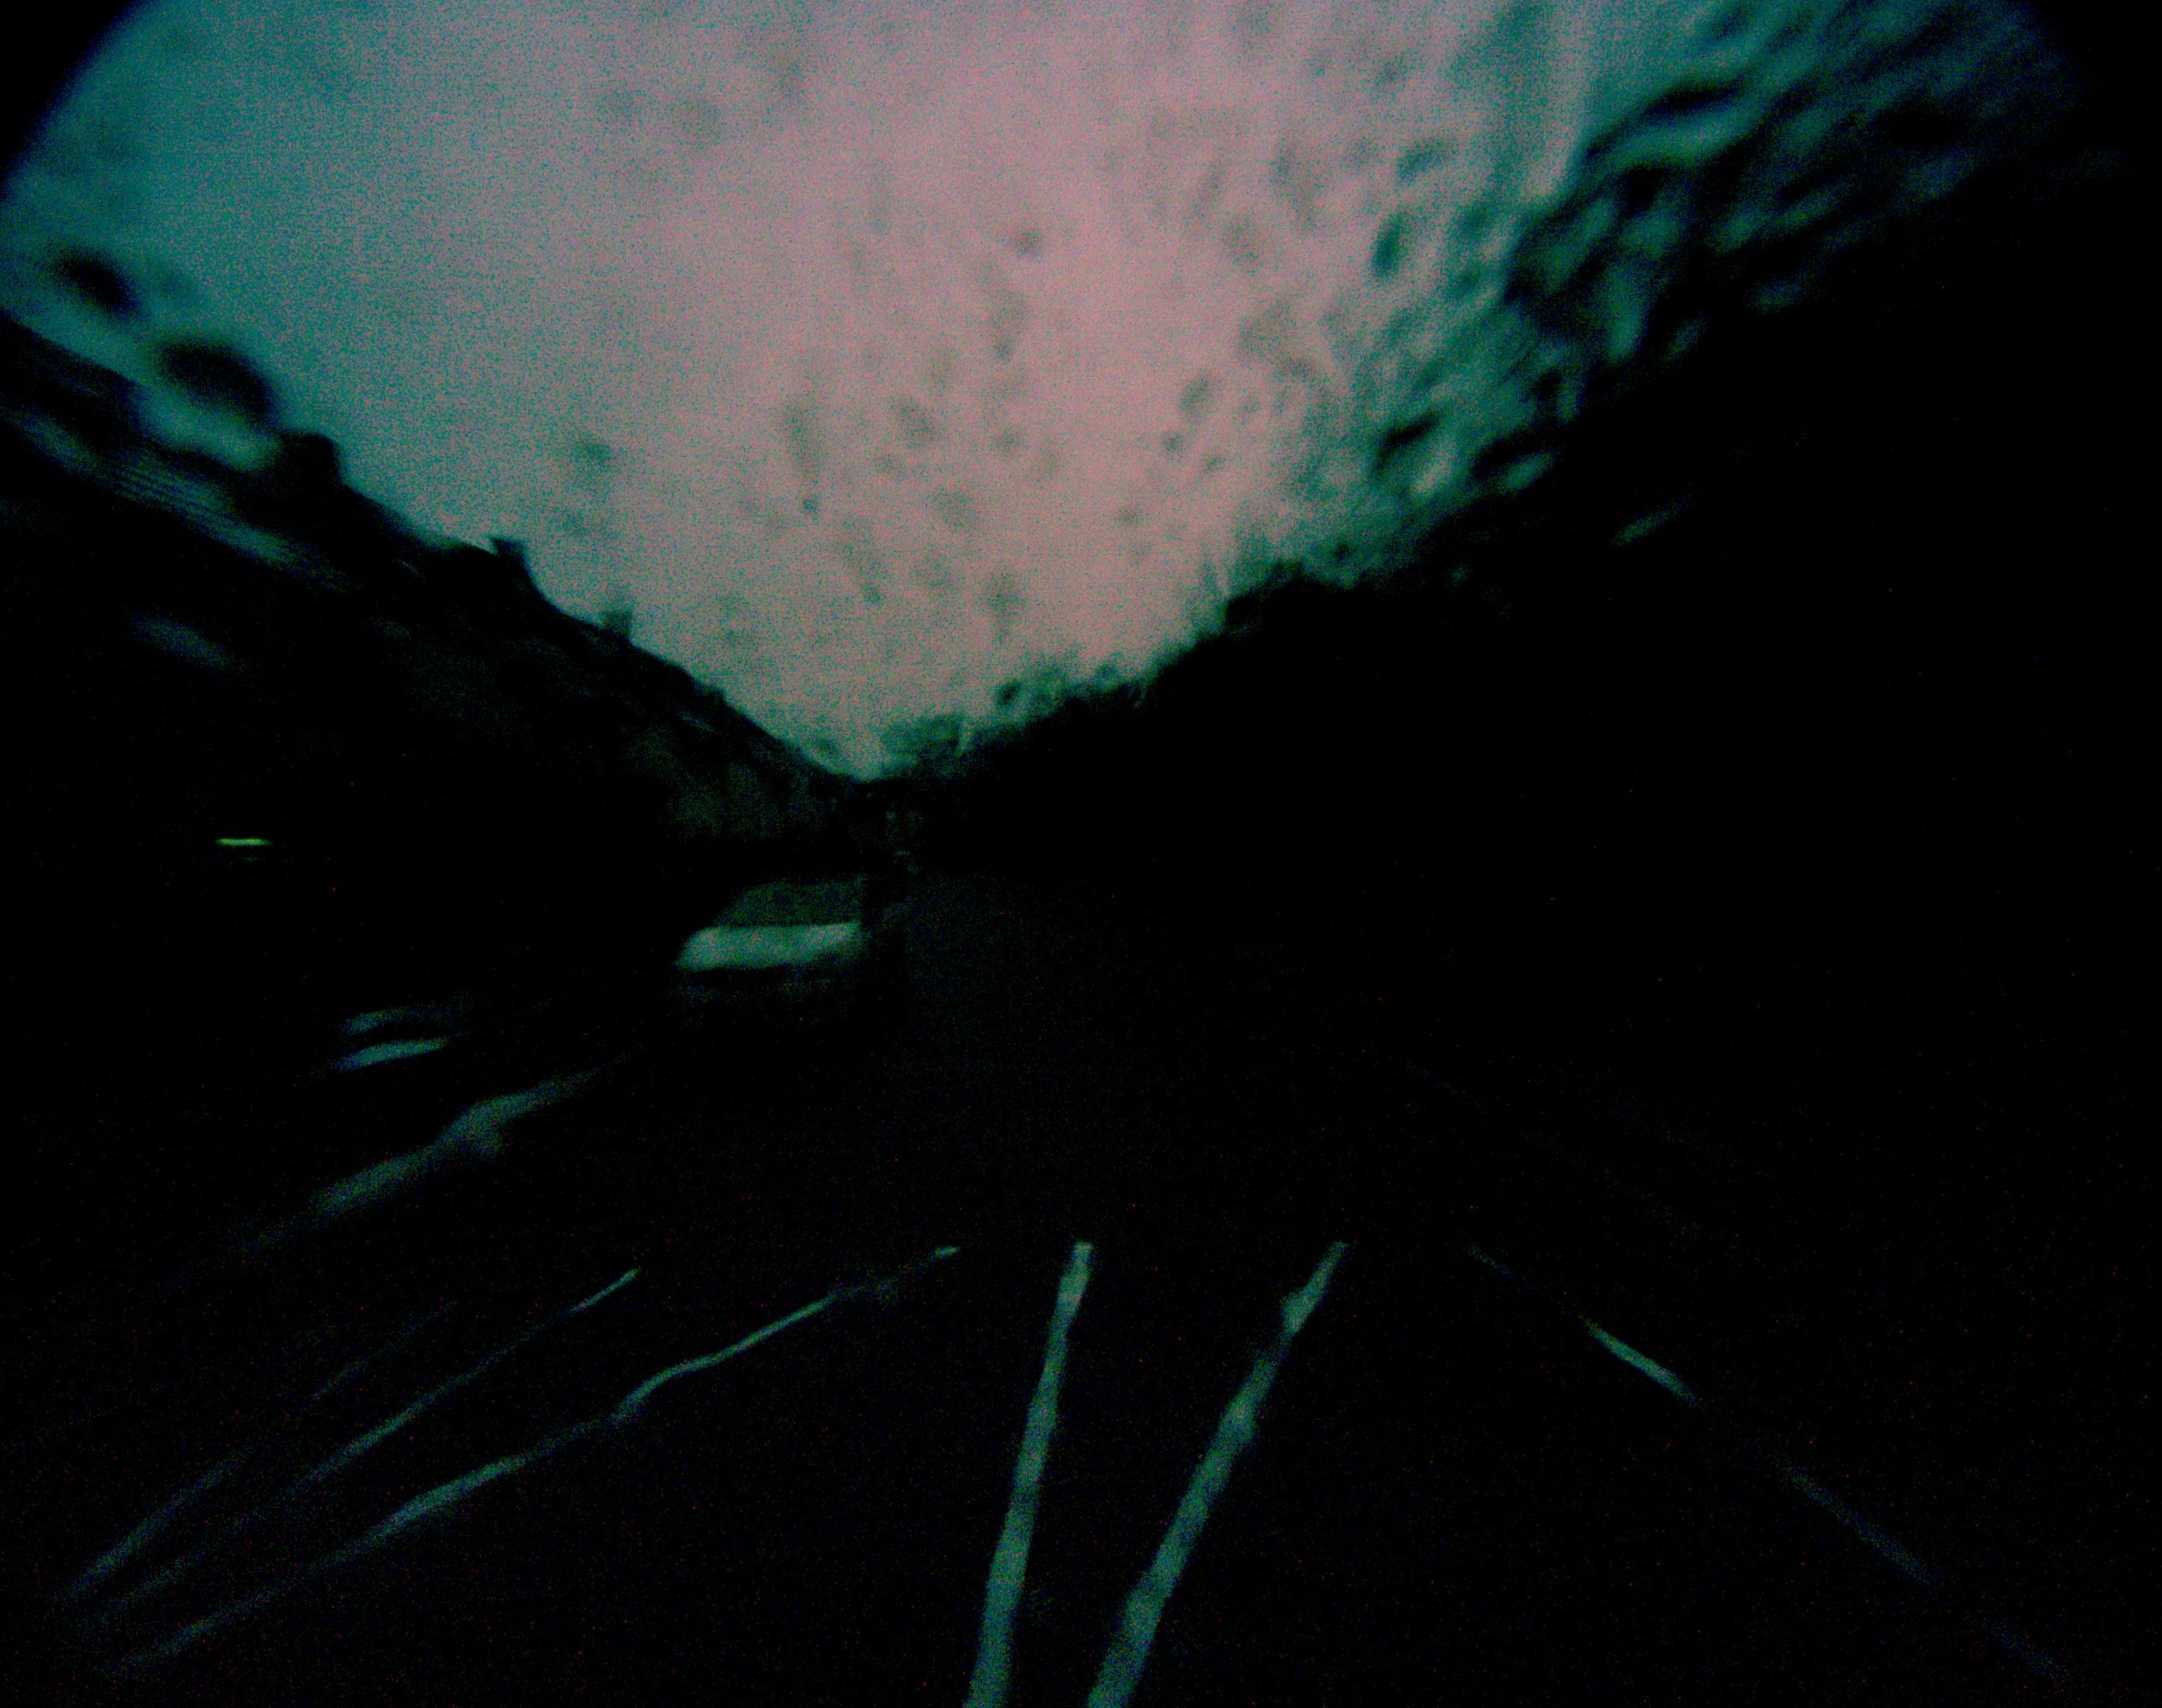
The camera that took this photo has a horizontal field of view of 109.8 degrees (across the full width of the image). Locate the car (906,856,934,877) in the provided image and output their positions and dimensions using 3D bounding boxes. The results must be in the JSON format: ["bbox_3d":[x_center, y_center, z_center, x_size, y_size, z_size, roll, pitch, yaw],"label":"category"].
[{"bbox_3d":[-12.617,0.954,59.295,1.745,1.421,4.450,-3,1,-16],"label":"car"}]

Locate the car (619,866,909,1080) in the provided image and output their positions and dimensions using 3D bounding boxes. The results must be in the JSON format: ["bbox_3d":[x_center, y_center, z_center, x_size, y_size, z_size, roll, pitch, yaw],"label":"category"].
[{"bbox_3d":[-2.940,0.964,8.019,1.709,1.497,4.021,-2,1,-7],"label":"car"}]

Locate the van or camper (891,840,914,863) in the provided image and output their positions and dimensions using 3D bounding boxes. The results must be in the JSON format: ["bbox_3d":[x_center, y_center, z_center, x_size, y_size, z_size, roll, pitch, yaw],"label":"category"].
[{"bbox_3d":[-19.925,-0.235,84.657,2.022,2.493,6.783,-1,0,-17],"label":"van or camper"}]
